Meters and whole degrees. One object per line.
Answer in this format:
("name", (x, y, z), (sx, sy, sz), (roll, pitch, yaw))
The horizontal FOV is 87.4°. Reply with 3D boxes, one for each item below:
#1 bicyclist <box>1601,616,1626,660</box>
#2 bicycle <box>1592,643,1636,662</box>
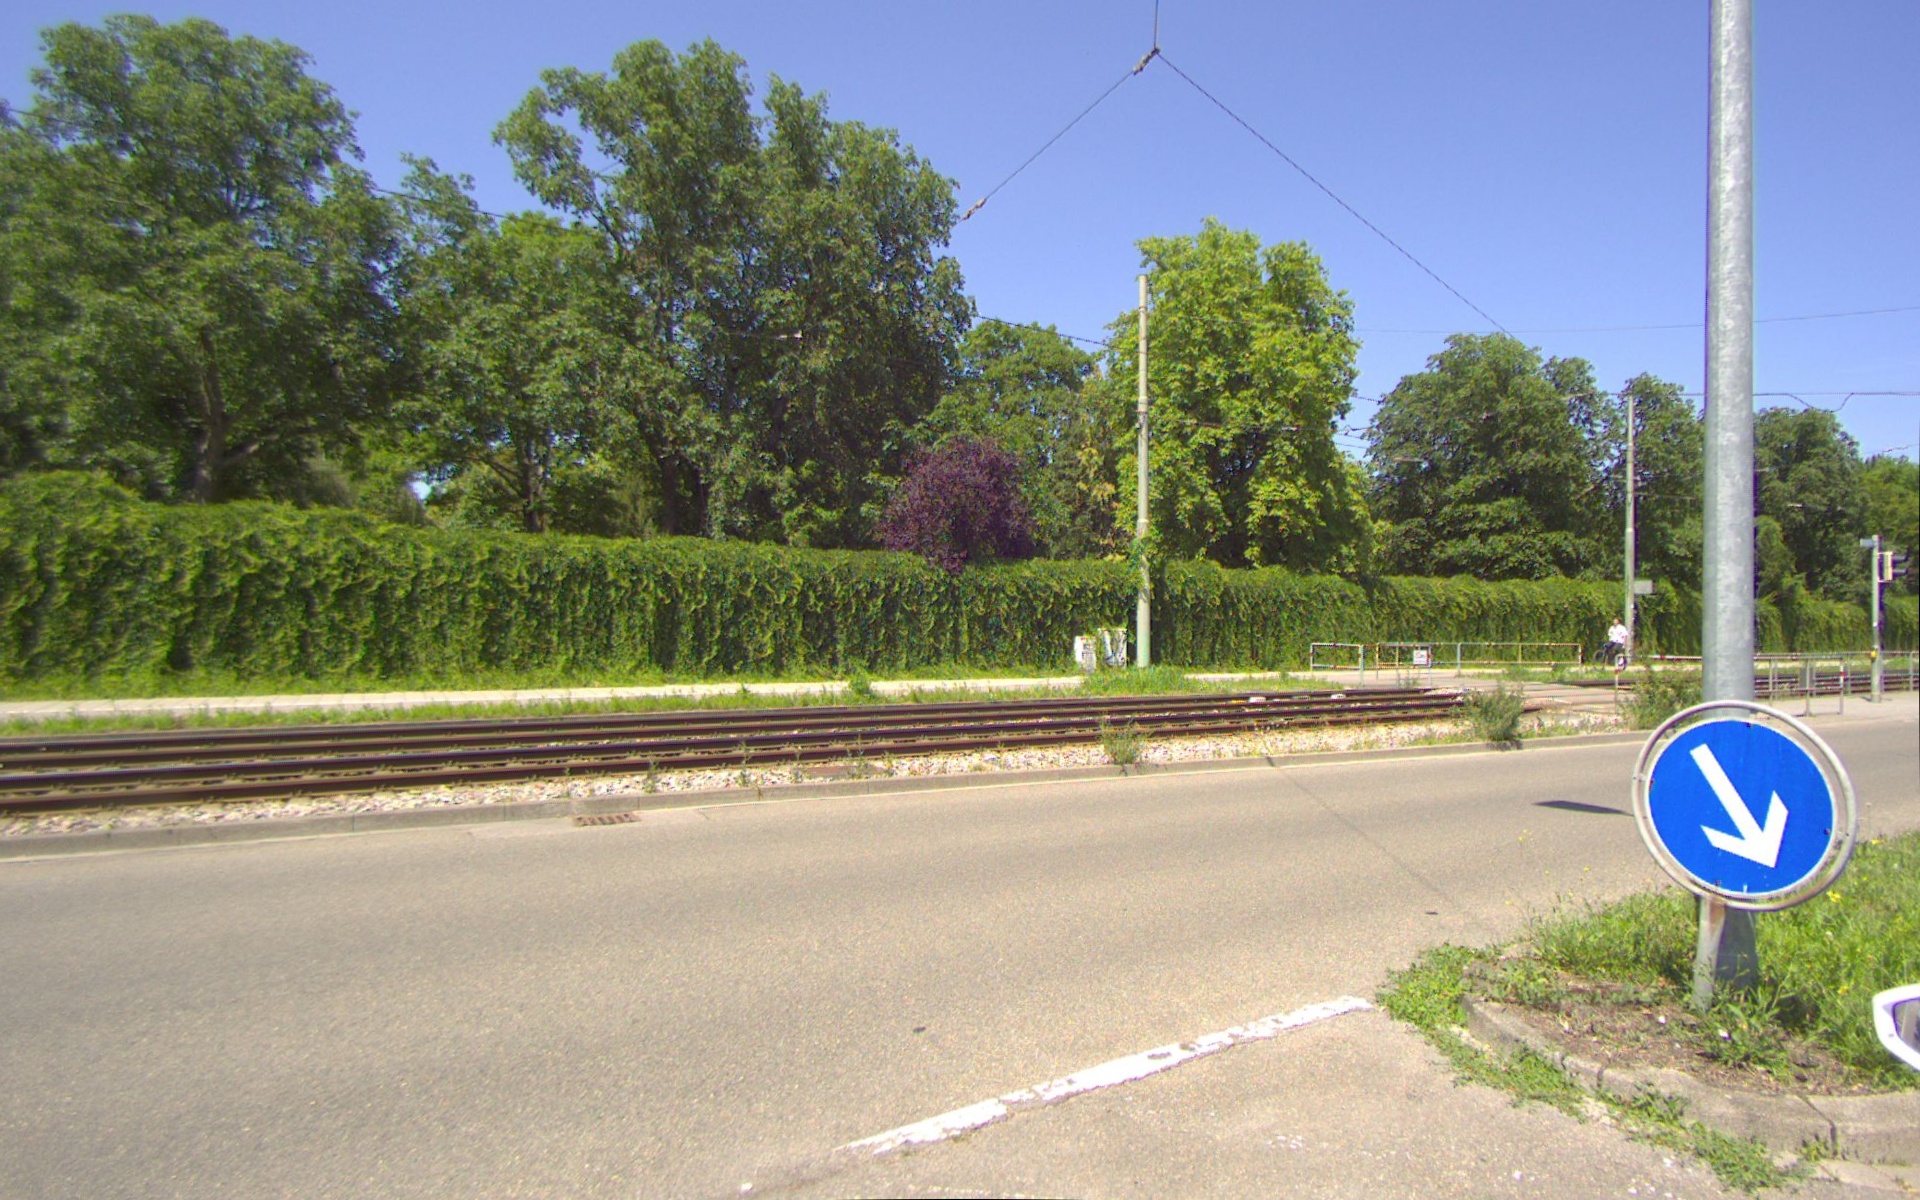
("bicyclist", (22.792, 1.325, 35.024), (0.554, 1.497, 0.555), (1, -1, -29))
("bicycle", (22.810, 1.826, 35.028), (1.699, 0.656, 0.558), (1, -1, -29))
